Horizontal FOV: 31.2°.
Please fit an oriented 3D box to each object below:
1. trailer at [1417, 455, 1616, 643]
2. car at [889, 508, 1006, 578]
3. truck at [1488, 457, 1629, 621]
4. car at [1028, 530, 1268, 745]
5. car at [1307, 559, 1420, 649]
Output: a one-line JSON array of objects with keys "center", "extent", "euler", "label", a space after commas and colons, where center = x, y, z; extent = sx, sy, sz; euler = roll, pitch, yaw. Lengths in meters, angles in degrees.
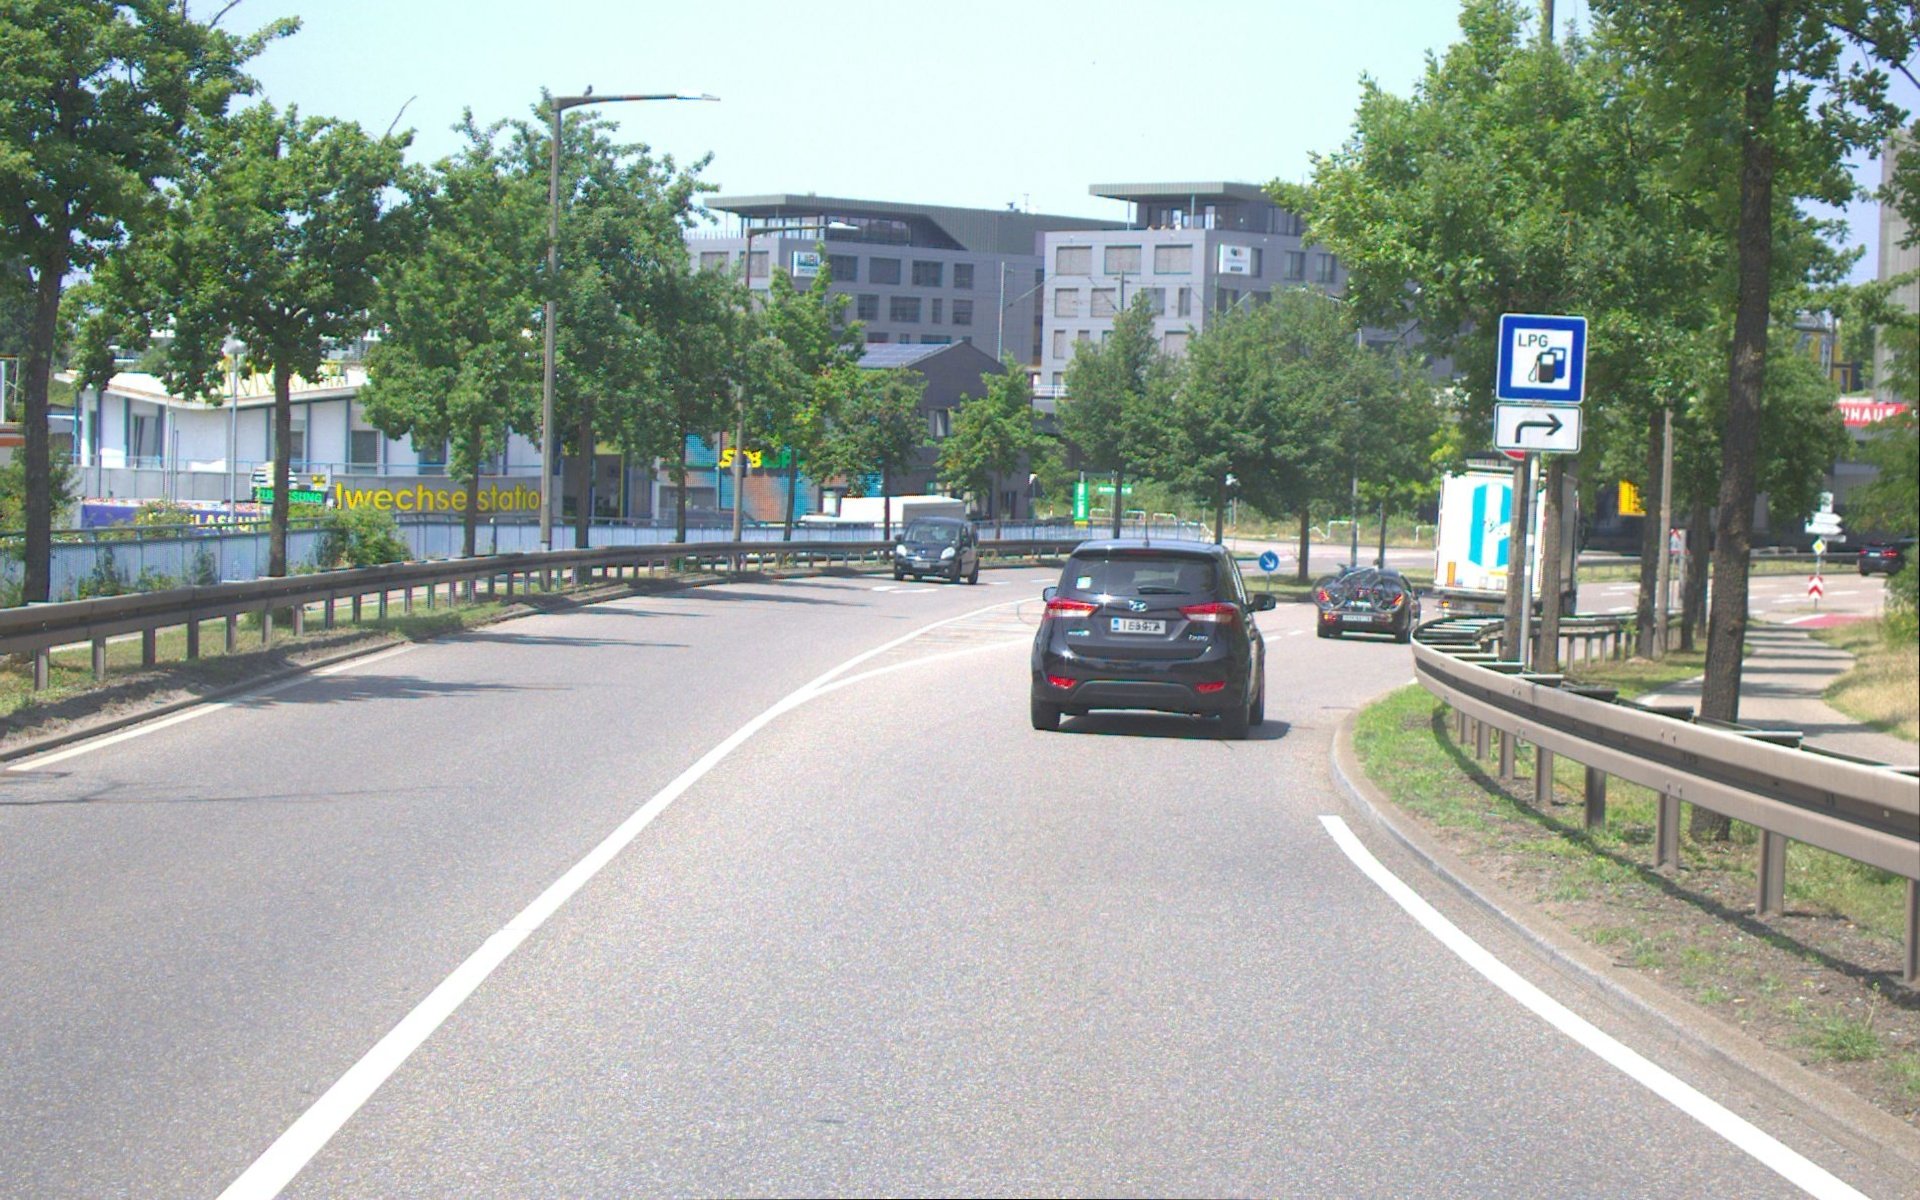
[{"center": [14.571, -1.473, 88.820], "extent": [3.081, 4.353, 14.764], "euler": [3, 3, 16], "label": "trailer"}, {"center": [-0.305, -1.540, 93.751], "extent": [1.809, 1.753, 4.248], "euler": [4, 1, 19], "label": "car"}, {"center": [16.859, -1.770, 96.577], "extent": [3.078, 4.353, 6.074], "euler": [3, 3, 16], "label": "truck"}, {"center": [1.652, 0.280, 29.000], "extent": [1.767, 1.593, 4.077], "euler": [3, 1, 6], "label": "car"}, {"center": [7.903, 0.047, 67.125], "extent": [1.957, 1.628, 4.278], "euler": [2, 1, 9], "label": "car"}]
